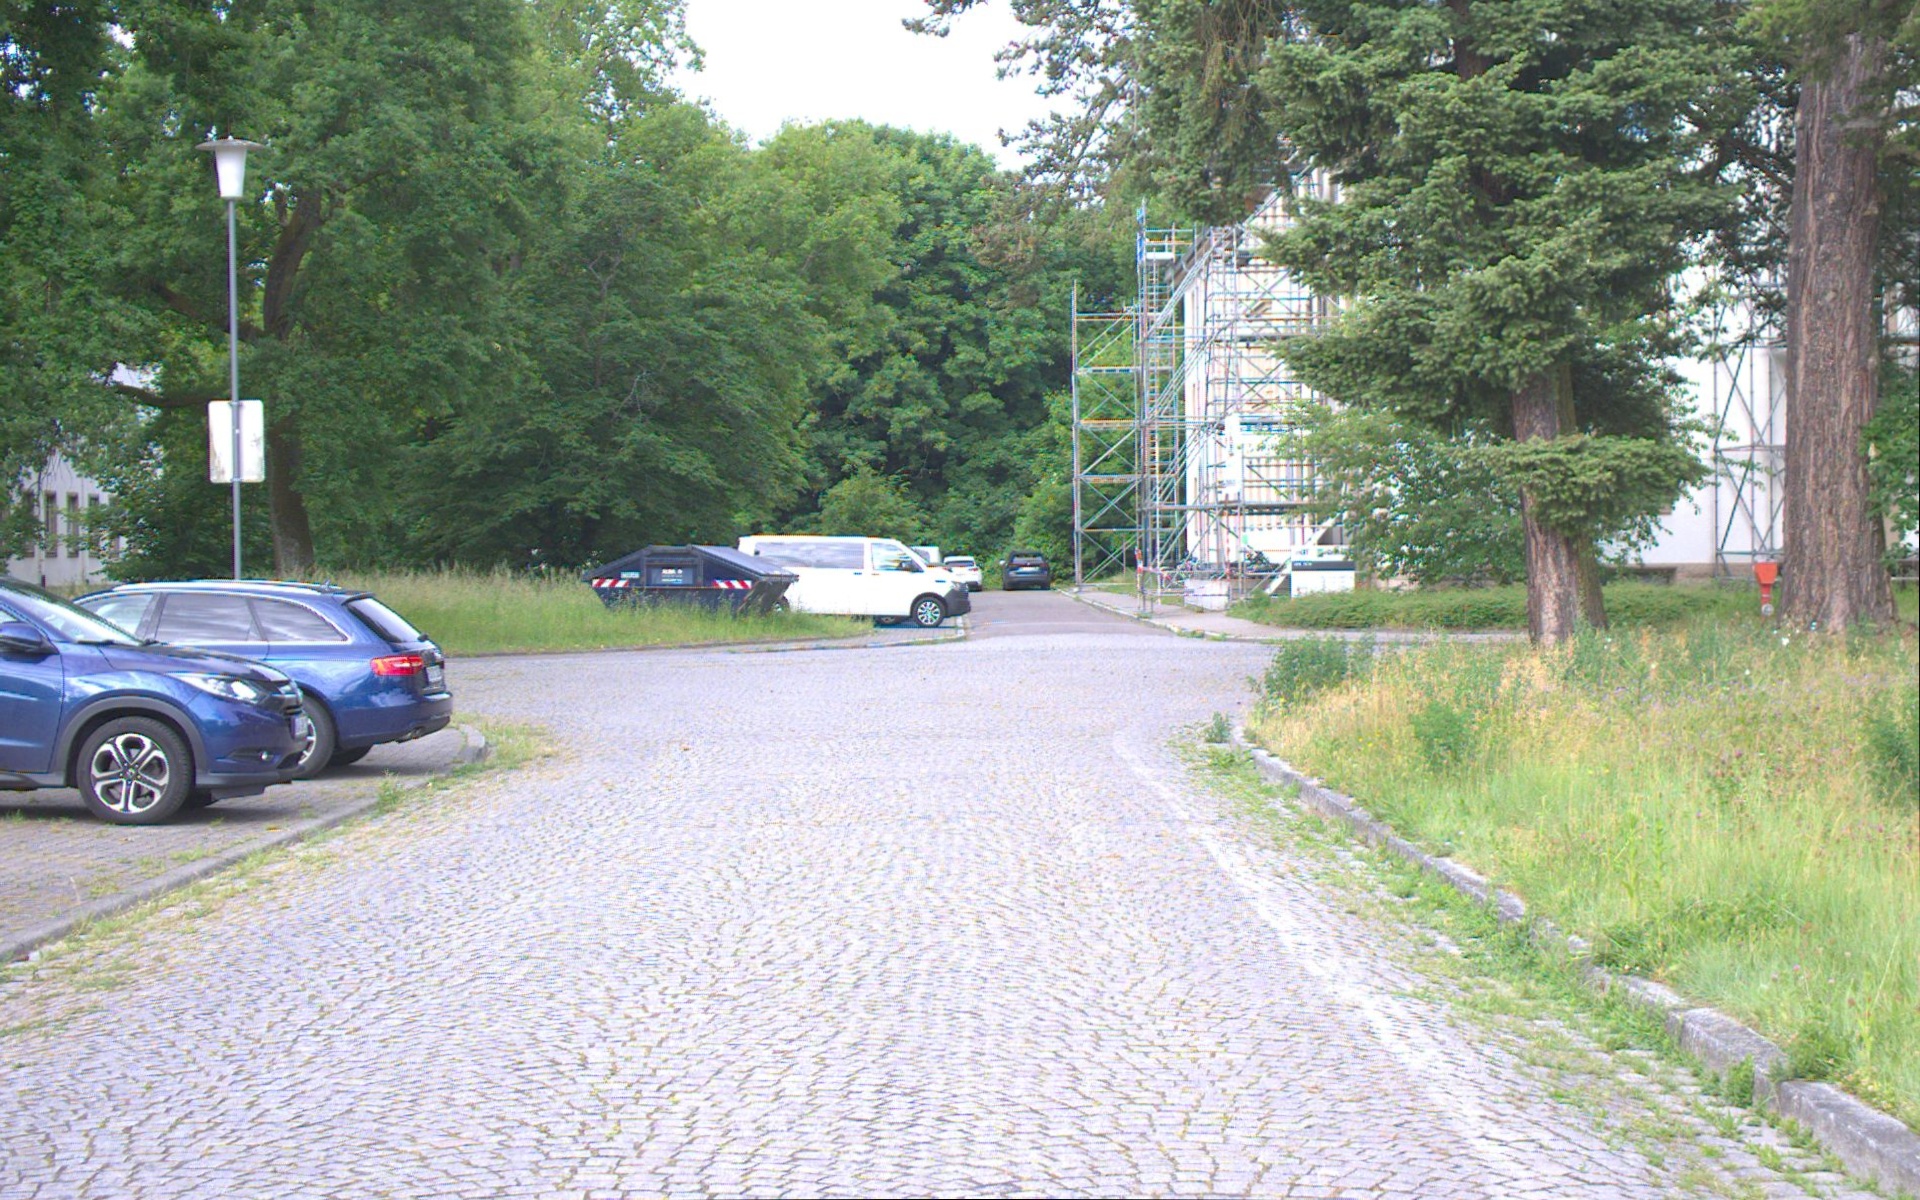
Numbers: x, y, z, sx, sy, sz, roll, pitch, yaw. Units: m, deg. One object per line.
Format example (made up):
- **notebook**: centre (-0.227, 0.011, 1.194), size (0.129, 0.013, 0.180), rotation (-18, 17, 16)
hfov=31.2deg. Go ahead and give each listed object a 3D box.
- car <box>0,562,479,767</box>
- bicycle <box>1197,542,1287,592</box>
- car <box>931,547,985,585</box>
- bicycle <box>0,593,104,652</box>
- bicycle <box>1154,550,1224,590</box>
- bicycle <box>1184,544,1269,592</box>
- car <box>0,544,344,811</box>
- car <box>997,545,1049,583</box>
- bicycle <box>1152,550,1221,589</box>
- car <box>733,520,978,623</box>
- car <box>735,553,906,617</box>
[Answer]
- **car**: centre (-5.951, 0.457, 26.050), size (4.303, 1.456, 1.975), rotation (0, 1, 1)
- **bicycle**: centre (7.198, -0.841, 87.758), size (2.240, 1.250, 0.777), rotation (-1, 0, 2)
- **car**: centre (-0.110, -1.409, 140.832), size (2.118, 1.516, 4.000), rotation (-1, 1, -1)
- **bicycle**: centre (-15.822, 0.390, 59.385), size (1.957, 0.986, 0.627), rotation (-1, 1, -10)
- **bicycle**: centre (7.411, -0.978, 111.267), size (2.240, 1.250, 0.627), rotation (-1, 0, 2)
- **bicycle**: centre (7.133, -0.864, 92.015), size (2.240, 1.250, 0.777), rotation (-1, 0, 2)
- **car**: centre (-6.089, 0.440, 21.320), size (4.228, 1.571, 1.887), rotation (0, 1, -1)
- **car**: centre (2.567, -1.461, 141.114), size (1.951, 1.516, 4.000), rotation (-1, 1, -1)
- **bicycle**: centre (7.432, -0.989, 112.724), size (2.240, 1.250, 0.698), rotation (-1, 0, 2)
- **car**: centre (-2.280, -0.628, 74.847), size (5.234, 2.160, 2.000), rotation (-1, 1, -2)
- **car**: centre (-3.145, -0.343, 77.448), size (3.788, 1.390, 2.000), rotation (-1, 1, -2)
